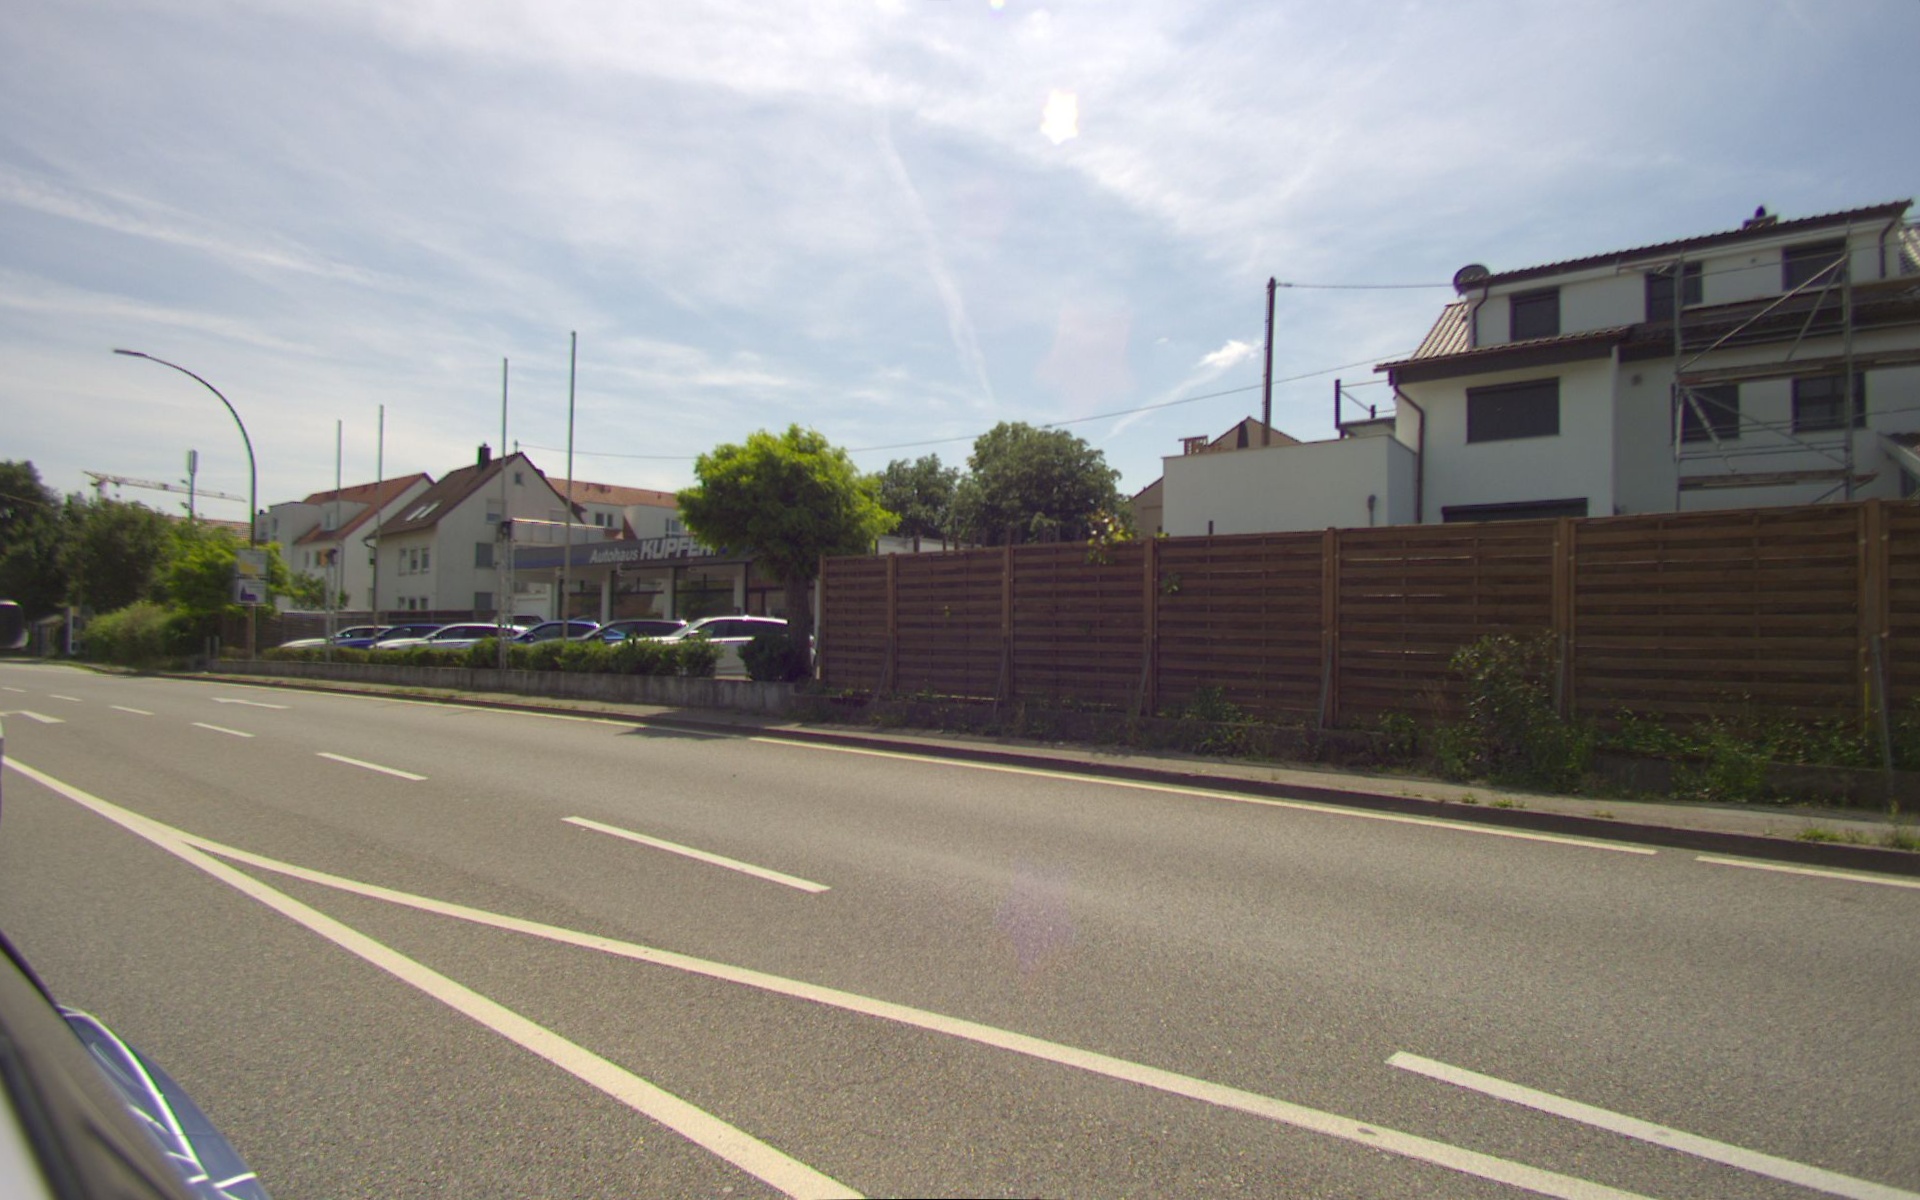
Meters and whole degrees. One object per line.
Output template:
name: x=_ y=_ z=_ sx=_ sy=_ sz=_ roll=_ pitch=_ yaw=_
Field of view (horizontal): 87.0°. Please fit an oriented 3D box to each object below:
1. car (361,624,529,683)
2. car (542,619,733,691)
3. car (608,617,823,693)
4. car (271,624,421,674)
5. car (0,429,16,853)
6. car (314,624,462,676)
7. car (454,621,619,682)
car: x=-14.882 y=1.509 z=29.541 sx=4.239 sy=1.530 sz=2.006 roll=-1 pitch=-1 yaw=-23
car: x=-7.880 y=1.284 z=24.753 sx=4.187 sy=1.557 sz=1.856 roll=-1 pitch=-1 yaw=-27
car: x=-5.345 y=1.149 z=22.133 sx=4.264 sy=1.471 sz=1.861 roll=0 pitch=-1 yaw=-26
car: x=-21.100 y=1.652 z=34.975 sx=4.192 sy=1.541 sz=2.006 roll=-1 pitch=-1 yaw=-24
car: x=-8.650 y=0.327 z=7.334 sx=5.628 sy=2.619 sz=1.953 roll=-2 pitch=-1 yaw=40
car: x=-18.168 y=1.545 z=32.375 sx=3.930 sy=1.475 sz=2.006 roll=-1 pitch=-1 yaw=-24
car: x=-11.279 y=1.324 z=27.005 sx=3.931 sy=1.453 sz=1.860 roll=-1 pitch=-1 yaw=-25
